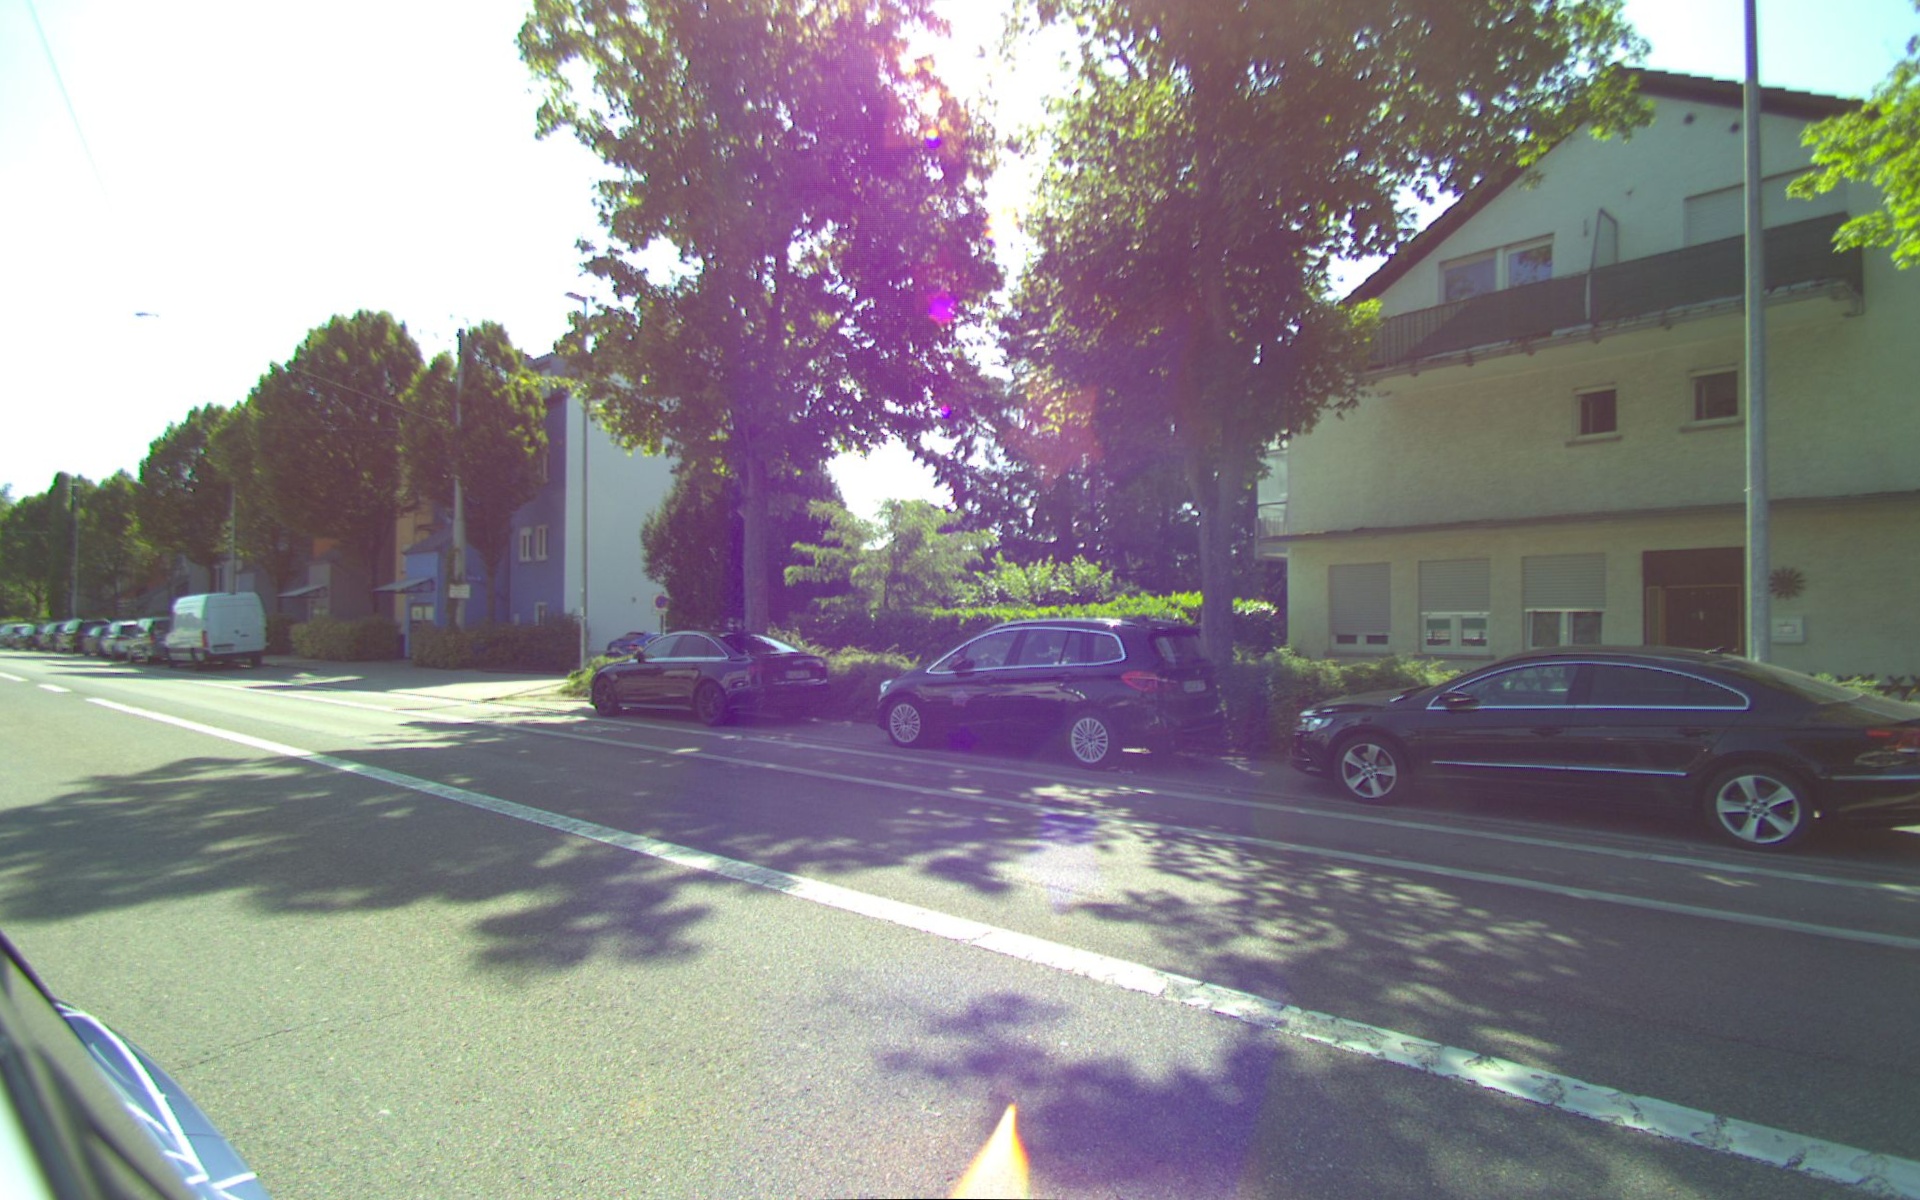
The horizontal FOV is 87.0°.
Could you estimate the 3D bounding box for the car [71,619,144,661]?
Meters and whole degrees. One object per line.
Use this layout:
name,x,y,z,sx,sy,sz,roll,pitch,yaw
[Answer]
car,-42.125,1.955,49.987,4.254,1.818,1.974,-2,4,41

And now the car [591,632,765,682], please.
car,-8.770,1.756,31.864,1.891,1.441,5.002,-2,-3,44

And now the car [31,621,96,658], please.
car,-50.228,2.199,56.672,4.766,1.818,1.974,-2,4,41

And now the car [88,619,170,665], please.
car,-38.055,1.880,46.313,4.766,1.818,1.974,-2,4,41

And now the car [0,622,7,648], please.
car,-68.755,2.546,71.131,4.766,1.818,1.974,-2,4,41

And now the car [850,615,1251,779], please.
car,0.933,1.014,12.237,4.619,1.583,1.844,-1,0,41

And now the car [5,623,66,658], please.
car,-54.905,2.384,60.093,4.766,1.818,1.974,-2,4,41

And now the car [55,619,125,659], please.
car,-45.732,2.015,53.169,4.766,1.818,1.974,-2,4,41

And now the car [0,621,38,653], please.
car,-60.269,2.364,64.189,4.766,1.818,1.974,-2,4,41

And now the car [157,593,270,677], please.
car,-27.349,1.239,36.971,6.213,2.713,1.973,-2,4,43

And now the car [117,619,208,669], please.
car,-33.518,1.814,42.496,4.766,1.818,1.974,-2,4,41

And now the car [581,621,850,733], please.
car,-4.082,1.153,16.503,4.616,1.583,1.845,-1,-2,39

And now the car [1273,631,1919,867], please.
car,5.202,1.008,8.411,4.619,1.426,1.844,-1,0,41
